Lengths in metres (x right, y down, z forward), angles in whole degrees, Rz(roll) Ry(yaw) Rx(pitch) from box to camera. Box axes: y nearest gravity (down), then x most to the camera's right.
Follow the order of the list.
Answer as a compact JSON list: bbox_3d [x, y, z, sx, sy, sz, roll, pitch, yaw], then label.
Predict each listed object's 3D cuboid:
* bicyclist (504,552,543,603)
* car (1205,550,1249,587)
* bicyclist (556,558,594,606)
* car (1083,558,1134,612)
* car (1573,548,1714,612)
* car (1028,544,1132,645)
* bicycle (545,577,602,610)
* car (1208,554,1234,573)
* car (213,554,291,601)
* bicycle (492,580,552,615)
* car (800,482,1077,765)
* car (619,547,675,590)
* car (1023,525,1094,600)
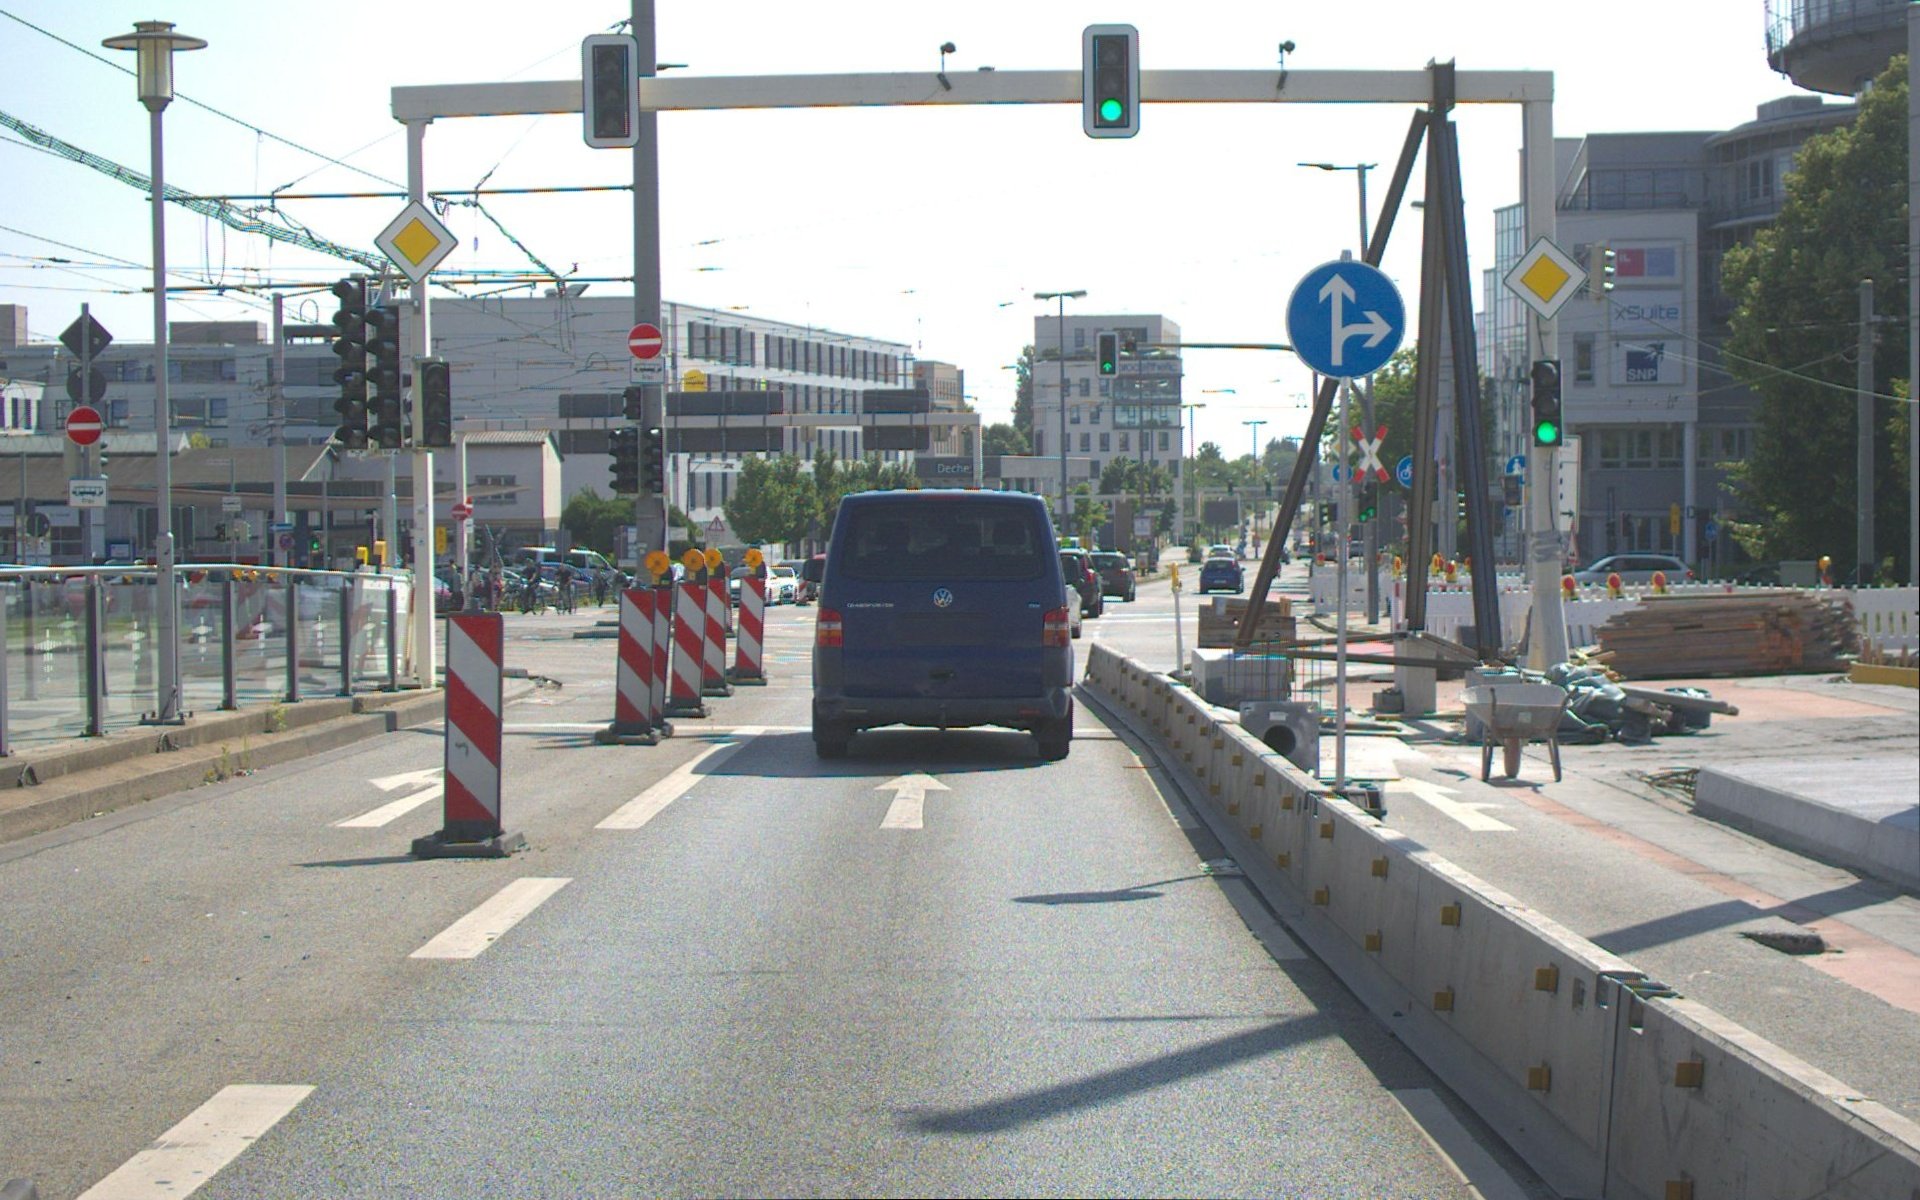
[{"bbox_3d":[-14.196,-0.729,111.863,0.876,1.573,0.969,4,1,14],"label":"bicyclist"},{"bbox_3d":[11.026,-1.303,141.937,1.744,1.470,3.884,0,1,6],"label":"car"},{"bbox_3d":[-12.935,-0.608,115.487,0.876,1.573,0.969,4,1,14],"label":"bicyclist"},{"bbox_3d":[4.996,-0.521,116.169,1.645,1.722,3.717,1,2,2],"label":"car"},{"bbox_3d":[20.258,-0.599,102.022,3.813,1.791,1.681,1,2,0],"label":"car"},{"bbox_3d":[2.068,-0.116,59.811,1.684,1.601,3.616,1,2,1],"label":"car"},{"bbox_3d":[-12.970,-0.219,115.445,0.882,1.065,2.805,4,1,14],"label":"bicycle"},{"bbox_3d":[19.079,-2.681,251.489,1.547,1.335,3.016,1,1,-1],"label":"car"},{"bbox_3d":[-23.935,-0.774,116.297,1.777,1.532,4.000,0,1,1],"label":"car"},{"bbox_3d":[-14.239,-0.072,111.876,0.882,1.065,2.805,4,1,14],"label":"bicycle"},{"bbox_3d":[-0.164,0.095,25.952,1.888,1.927,4.001,1,2,0],"label":"car"},{"bbox_3d":[-11.207,-1.152,123.460,1.747,1.481,4.001,-1,1,-2],"label":"car"},{"bbox_3d":[2.409,-0.934,83.784,1.645,1.722,4.000,1,2,2],"label":"car"}]
